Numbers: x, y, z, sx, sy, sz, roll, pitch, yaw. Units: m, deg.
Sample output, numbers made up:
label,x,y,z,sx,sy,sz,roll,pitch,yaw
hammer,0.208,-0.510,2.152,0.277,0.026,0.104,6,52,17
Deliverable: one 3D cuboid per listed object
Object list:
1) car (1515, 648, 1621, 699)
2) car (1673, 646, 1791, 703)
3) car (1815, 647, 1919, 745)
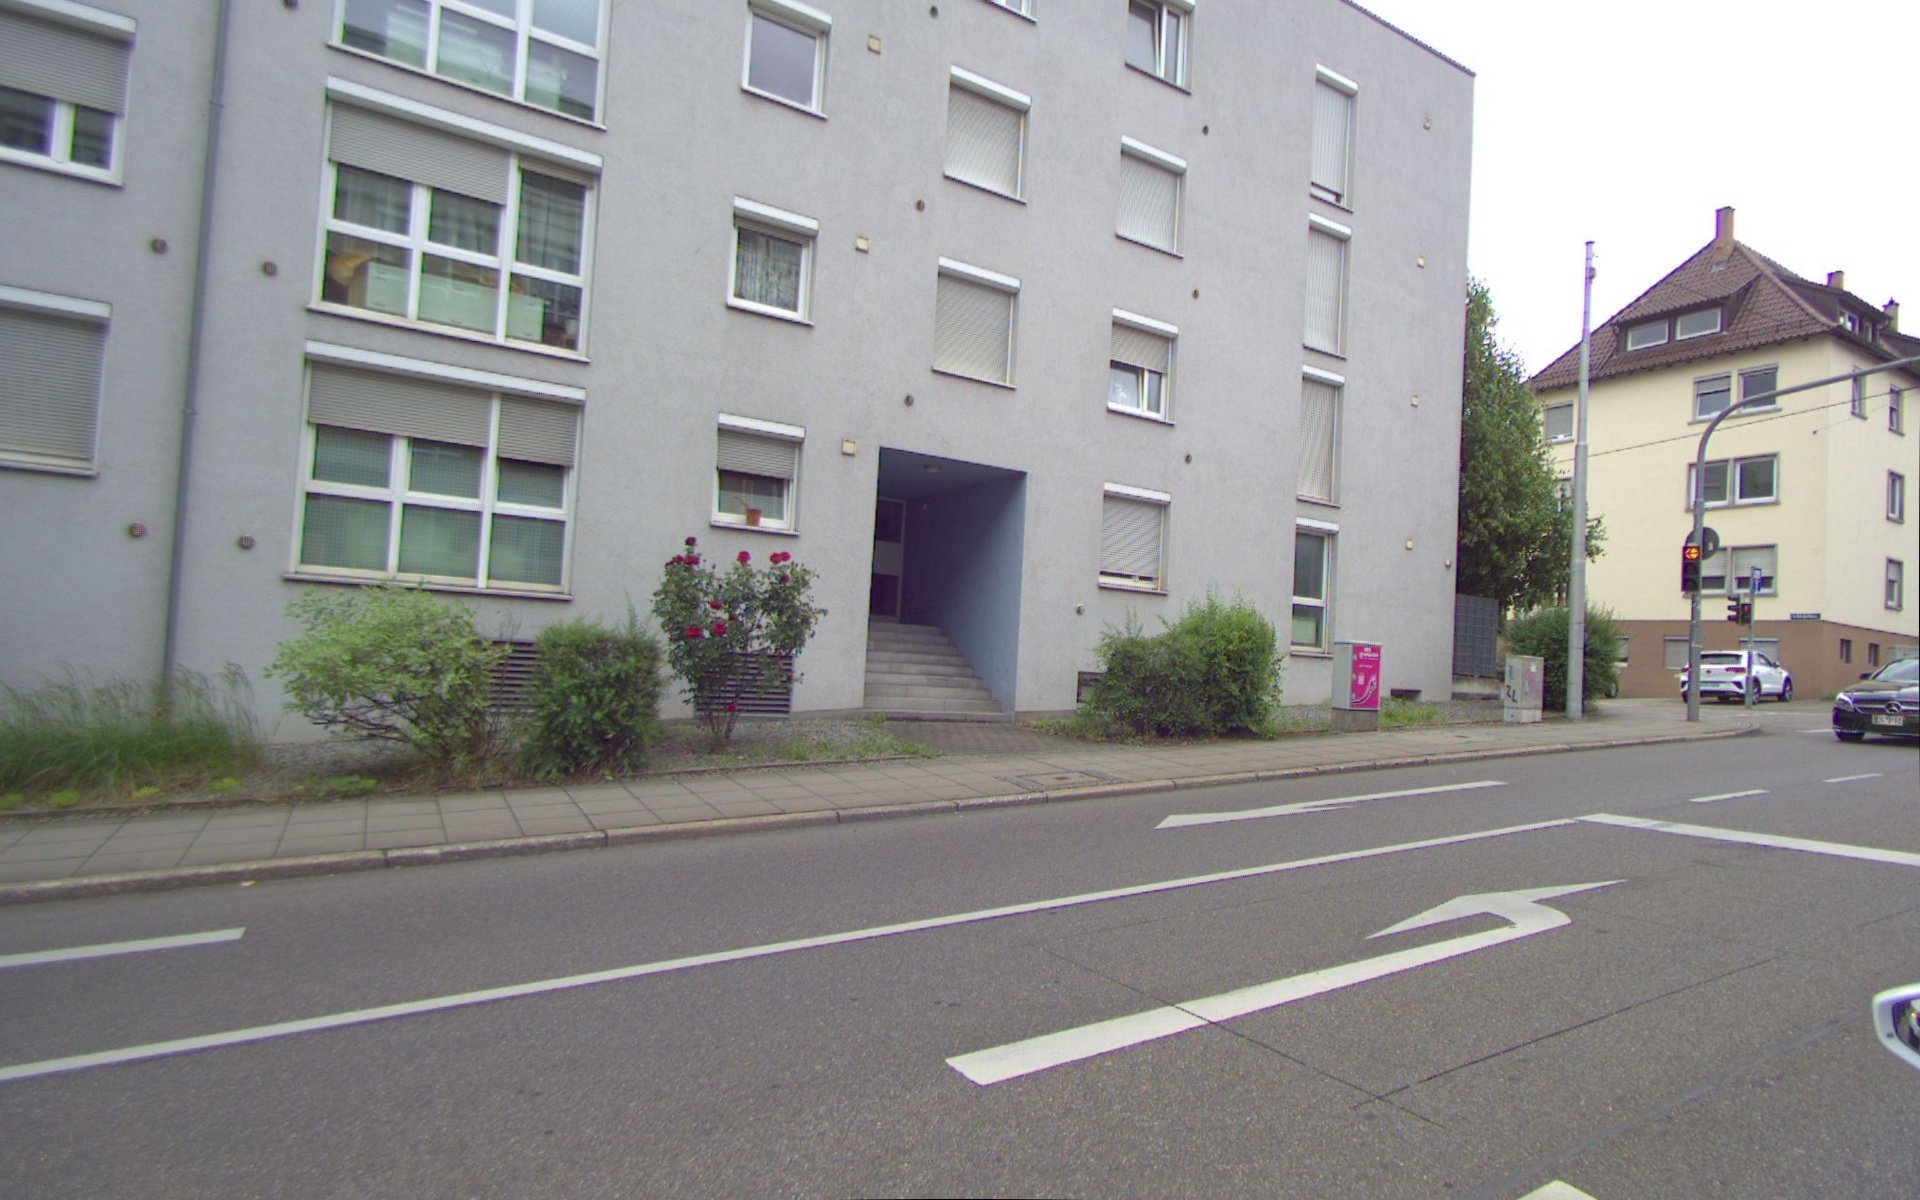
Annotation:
label,x,y,z,sx,sy,sz,roll,pitch,yaw
car,20.924,2.486,34.528,3.727,1.629,1.681,1,-4,-34
car,23.090,2.201,30.030,3.727,1.575,1.681,1,-4,-34
car,15.946,1.510,16.249,4.615,1.437,1.777,2,-4,-30
